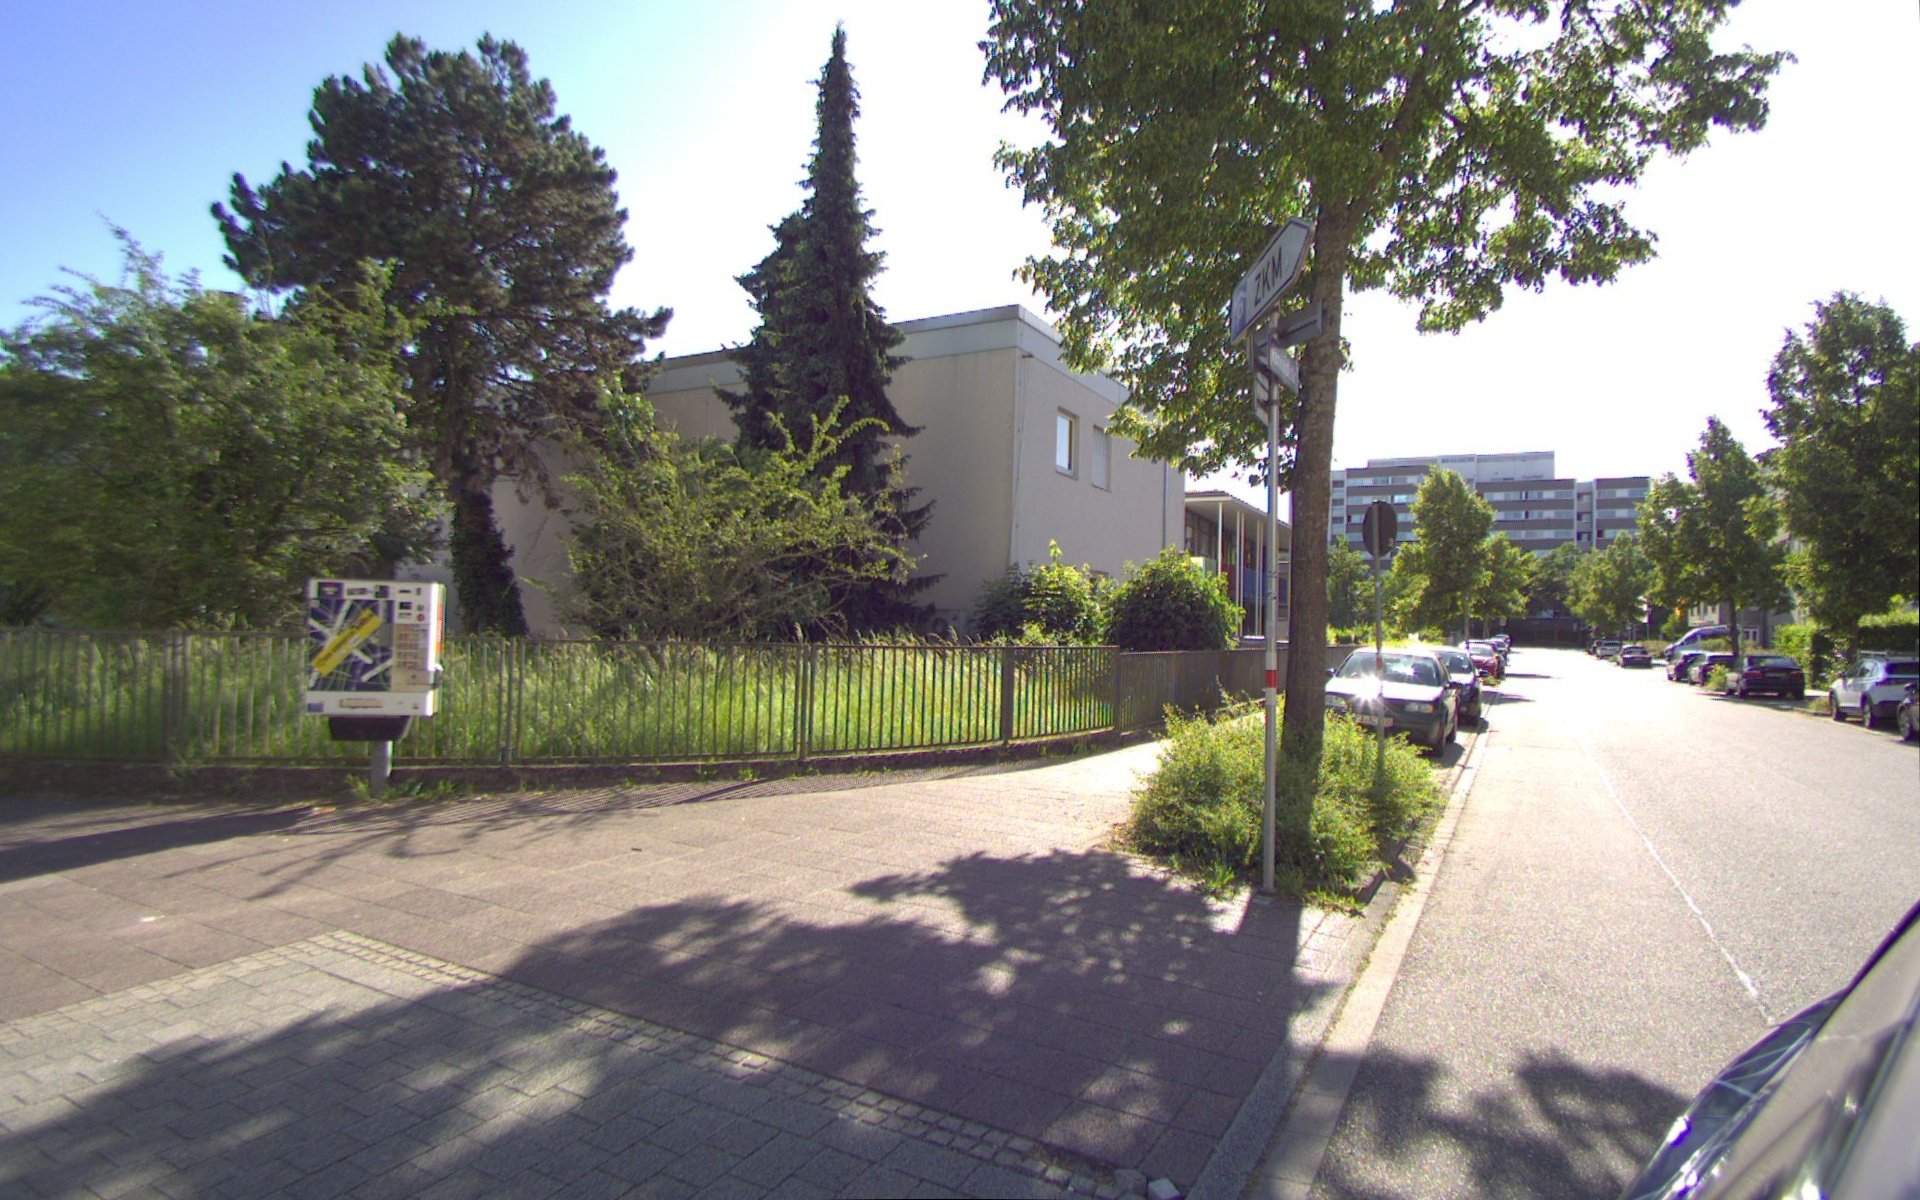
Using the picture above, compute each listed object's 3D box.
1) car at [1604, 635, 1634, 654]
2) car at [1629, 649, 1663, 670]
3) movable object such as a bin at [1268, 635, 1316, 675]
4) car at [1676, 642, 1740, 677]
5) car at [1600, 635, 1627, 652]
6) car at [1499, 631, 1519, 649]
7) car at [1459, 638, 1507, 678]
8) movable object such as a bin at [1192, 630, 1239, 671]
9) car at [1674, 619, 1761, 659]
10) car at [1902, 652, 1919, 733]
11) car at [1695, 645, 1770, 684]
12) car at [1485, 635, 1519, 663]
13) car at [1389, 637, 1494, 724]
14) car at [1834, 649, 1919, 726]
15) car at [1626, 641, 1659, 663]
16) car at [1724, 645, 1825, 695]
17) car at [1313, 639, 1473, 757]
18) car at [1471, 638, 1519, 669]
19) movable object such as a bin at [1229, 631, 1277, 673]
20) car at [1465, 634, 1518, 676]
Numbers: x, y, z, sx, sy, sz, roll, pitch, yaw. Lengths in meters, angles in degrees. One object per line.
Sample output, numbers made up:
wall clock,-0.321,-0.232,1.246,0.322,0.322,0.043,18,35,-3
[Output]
car,58.243,3.921,89.446,1.779,1.620,3.852,-1,-2,27
car,45.765,3.961,67.529,1.618,1.263,3.523,0,-2,30
movable object such as a bin,12.071,1.971,36.756,1.359,1.375,1.613,1,-2,31
car,34.557,2.728,46.837,1.830,1.493,4.056,-2,-2,29
car,62.624,4.124,97.046,1.779,1.538,3.852,-1,-2,27
car,52.923,3.865,97.507,1.632,1.485,3.665,4,2,29
car,21.501,2.353,41.534,1.666,1.523,3.806,0,-2,29
movable object such as a bin,9.672,1.905,38.222,1.323,1.467,1.613,1,-2,31
car,58.869,3.022,78.741,5.105,2.940,1.995,1,-1,27
car,18.039,1.677,17.418,1.706,1.493,3.511,-2,-2,27
car,31.738,2.619,41.670,1.830,1.493,3.984,-2,-2,29
car,36.429,3.245,67.971,1.809,1.668,4.441,4,0,29
car,9.978,1.571,20.829,1.773,1.535,3.959,1,-2,28
car,20.697,1.845,21.931,1.830,1.493,3.959,-2,-2,29
car,48.877,3.712,72.510,1.617,1.544,3.525,0,-2,29
car,26.846,2.252,33.501,1.830,1.493,4.313,-2,-2,29
car,6.730,1.358,15.471,1.737,1.440,4.376,0,-1,30
car,27.671,2.748,52.459,1.950,1.336,4.731,3,0,26
movable object such as a bin,10.874,1.908,37.525,1.359,1.467,1.613,1,-2,31
car,24.315,2.450,46.222,1.891,1.704,4.362,2,0,30
